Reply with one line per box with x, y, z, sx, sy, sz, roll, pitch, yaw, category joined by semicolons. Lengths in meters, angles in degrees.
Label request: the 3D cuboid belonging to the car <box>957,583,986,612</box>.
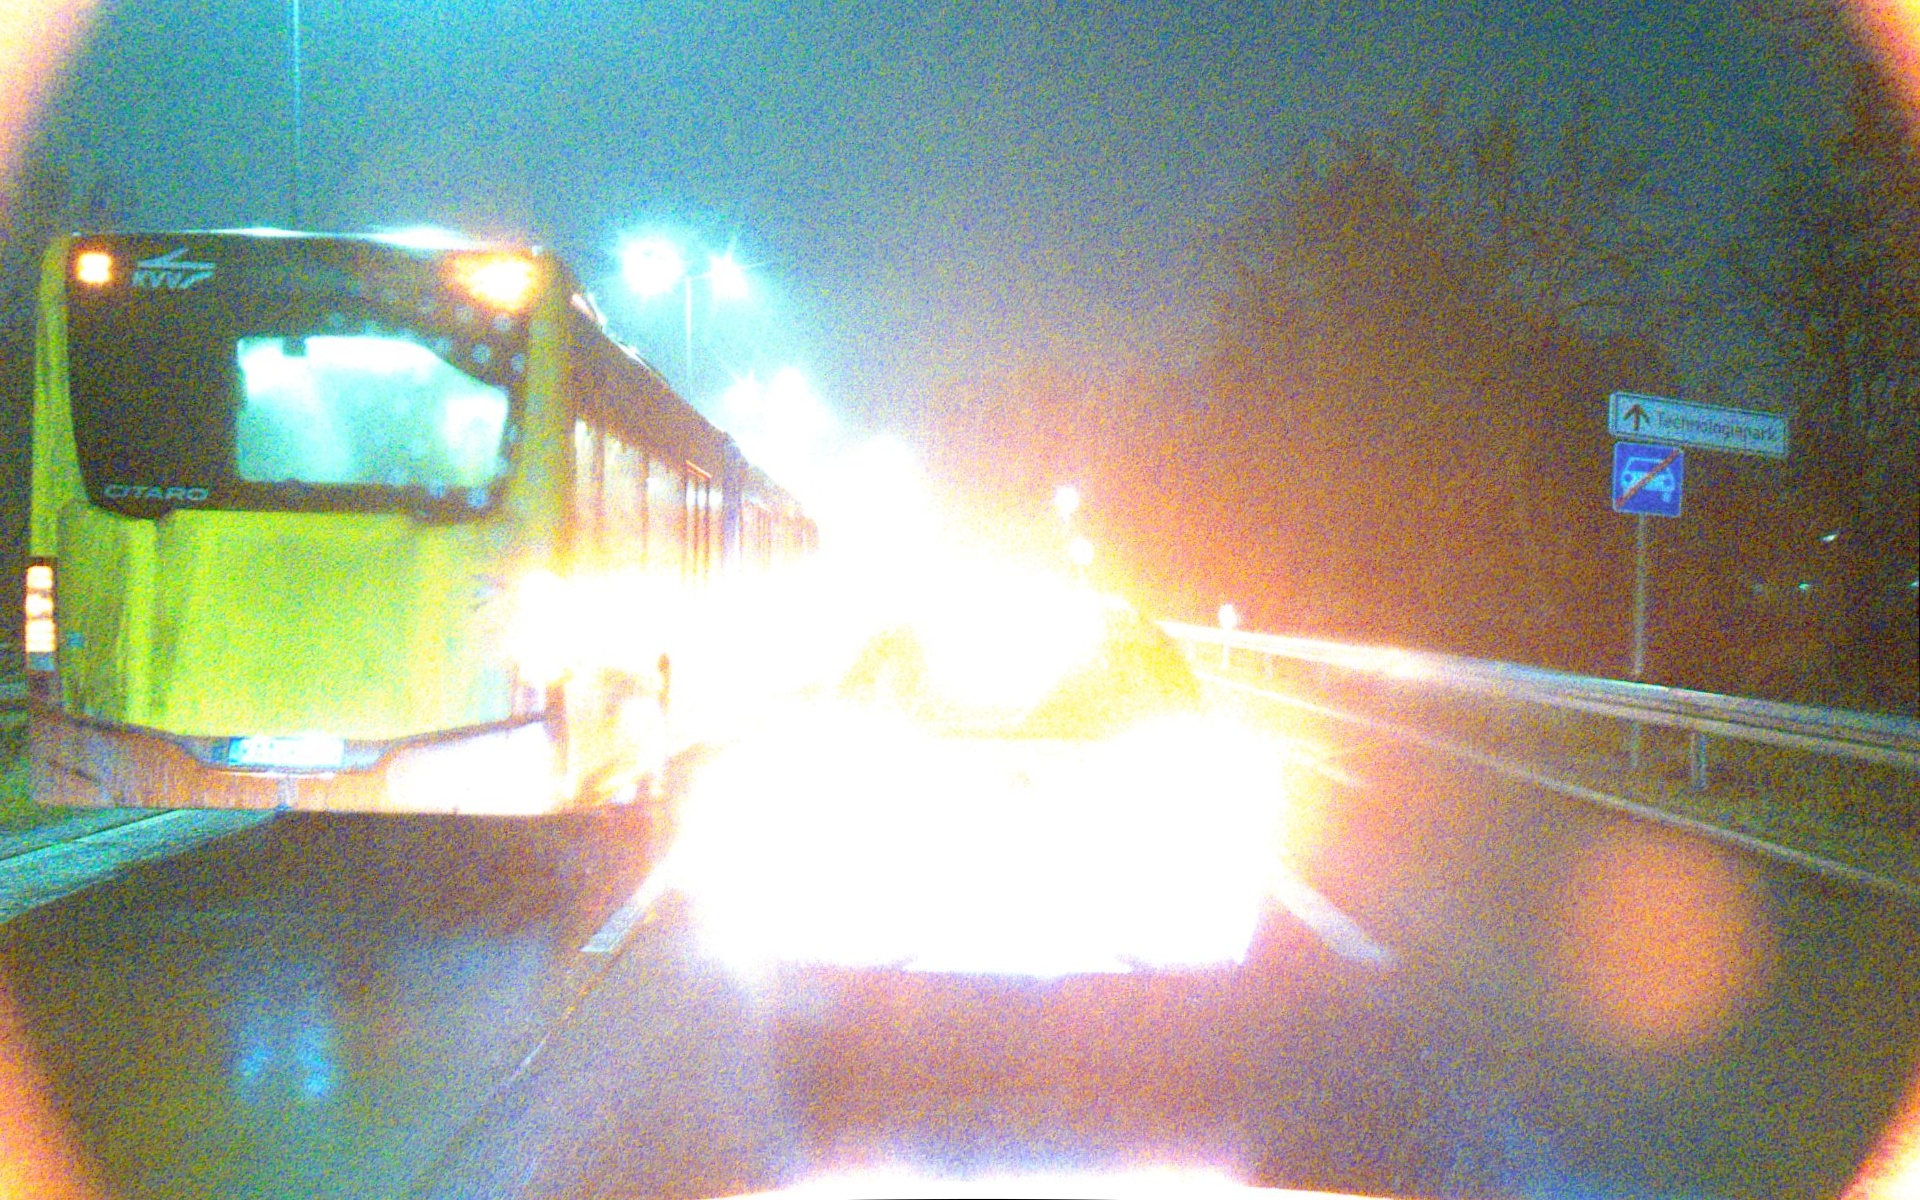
0.794;-0.142;113.900;1.913;1.915;3.999;1;0;-1;car

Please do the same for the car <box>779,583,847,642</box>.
-4.073;0.333;46.311;1.744;1.570;3.872;1;0;-3;car

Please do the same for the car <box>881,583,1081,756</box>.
0.072;0.583;16.551;1.697;1.474;4.722;1;0;-3;car

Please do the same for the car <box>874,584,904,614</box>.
-4.562;-0.051;106.717;1.779;1.829;3.802;1;0;-1;car

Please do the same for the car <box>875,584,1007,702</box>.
-0.355;0.575;24.471;1.705;1.592;3.773;1;0;-4;car

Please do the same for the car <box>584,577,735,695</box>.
-4.281;0.472;24.082;1.744;1.570;3.871;1;0;-4;car

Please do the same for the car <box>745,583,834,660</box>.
-3.649;0.430;35.986;1.744;1.570;3.872;1;0;-3;car

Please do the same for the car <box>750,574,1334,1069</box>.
0.205;0.665;7.350;1.785;1.510;4.566;0;0;-1;car

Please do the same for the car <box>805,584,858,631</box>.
-4.446;0.239;57.438;1.744;1.570;3.871;1;0;-4;car

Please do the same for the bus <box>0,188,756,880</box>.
-3.186;-0.317;11.765;2.759;3.077;8.682;0;0;-3;bus

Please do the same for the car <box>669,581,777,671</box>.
-4.414;0.451;31.209;1.744;1.570;3.871;1;0;-4;car
